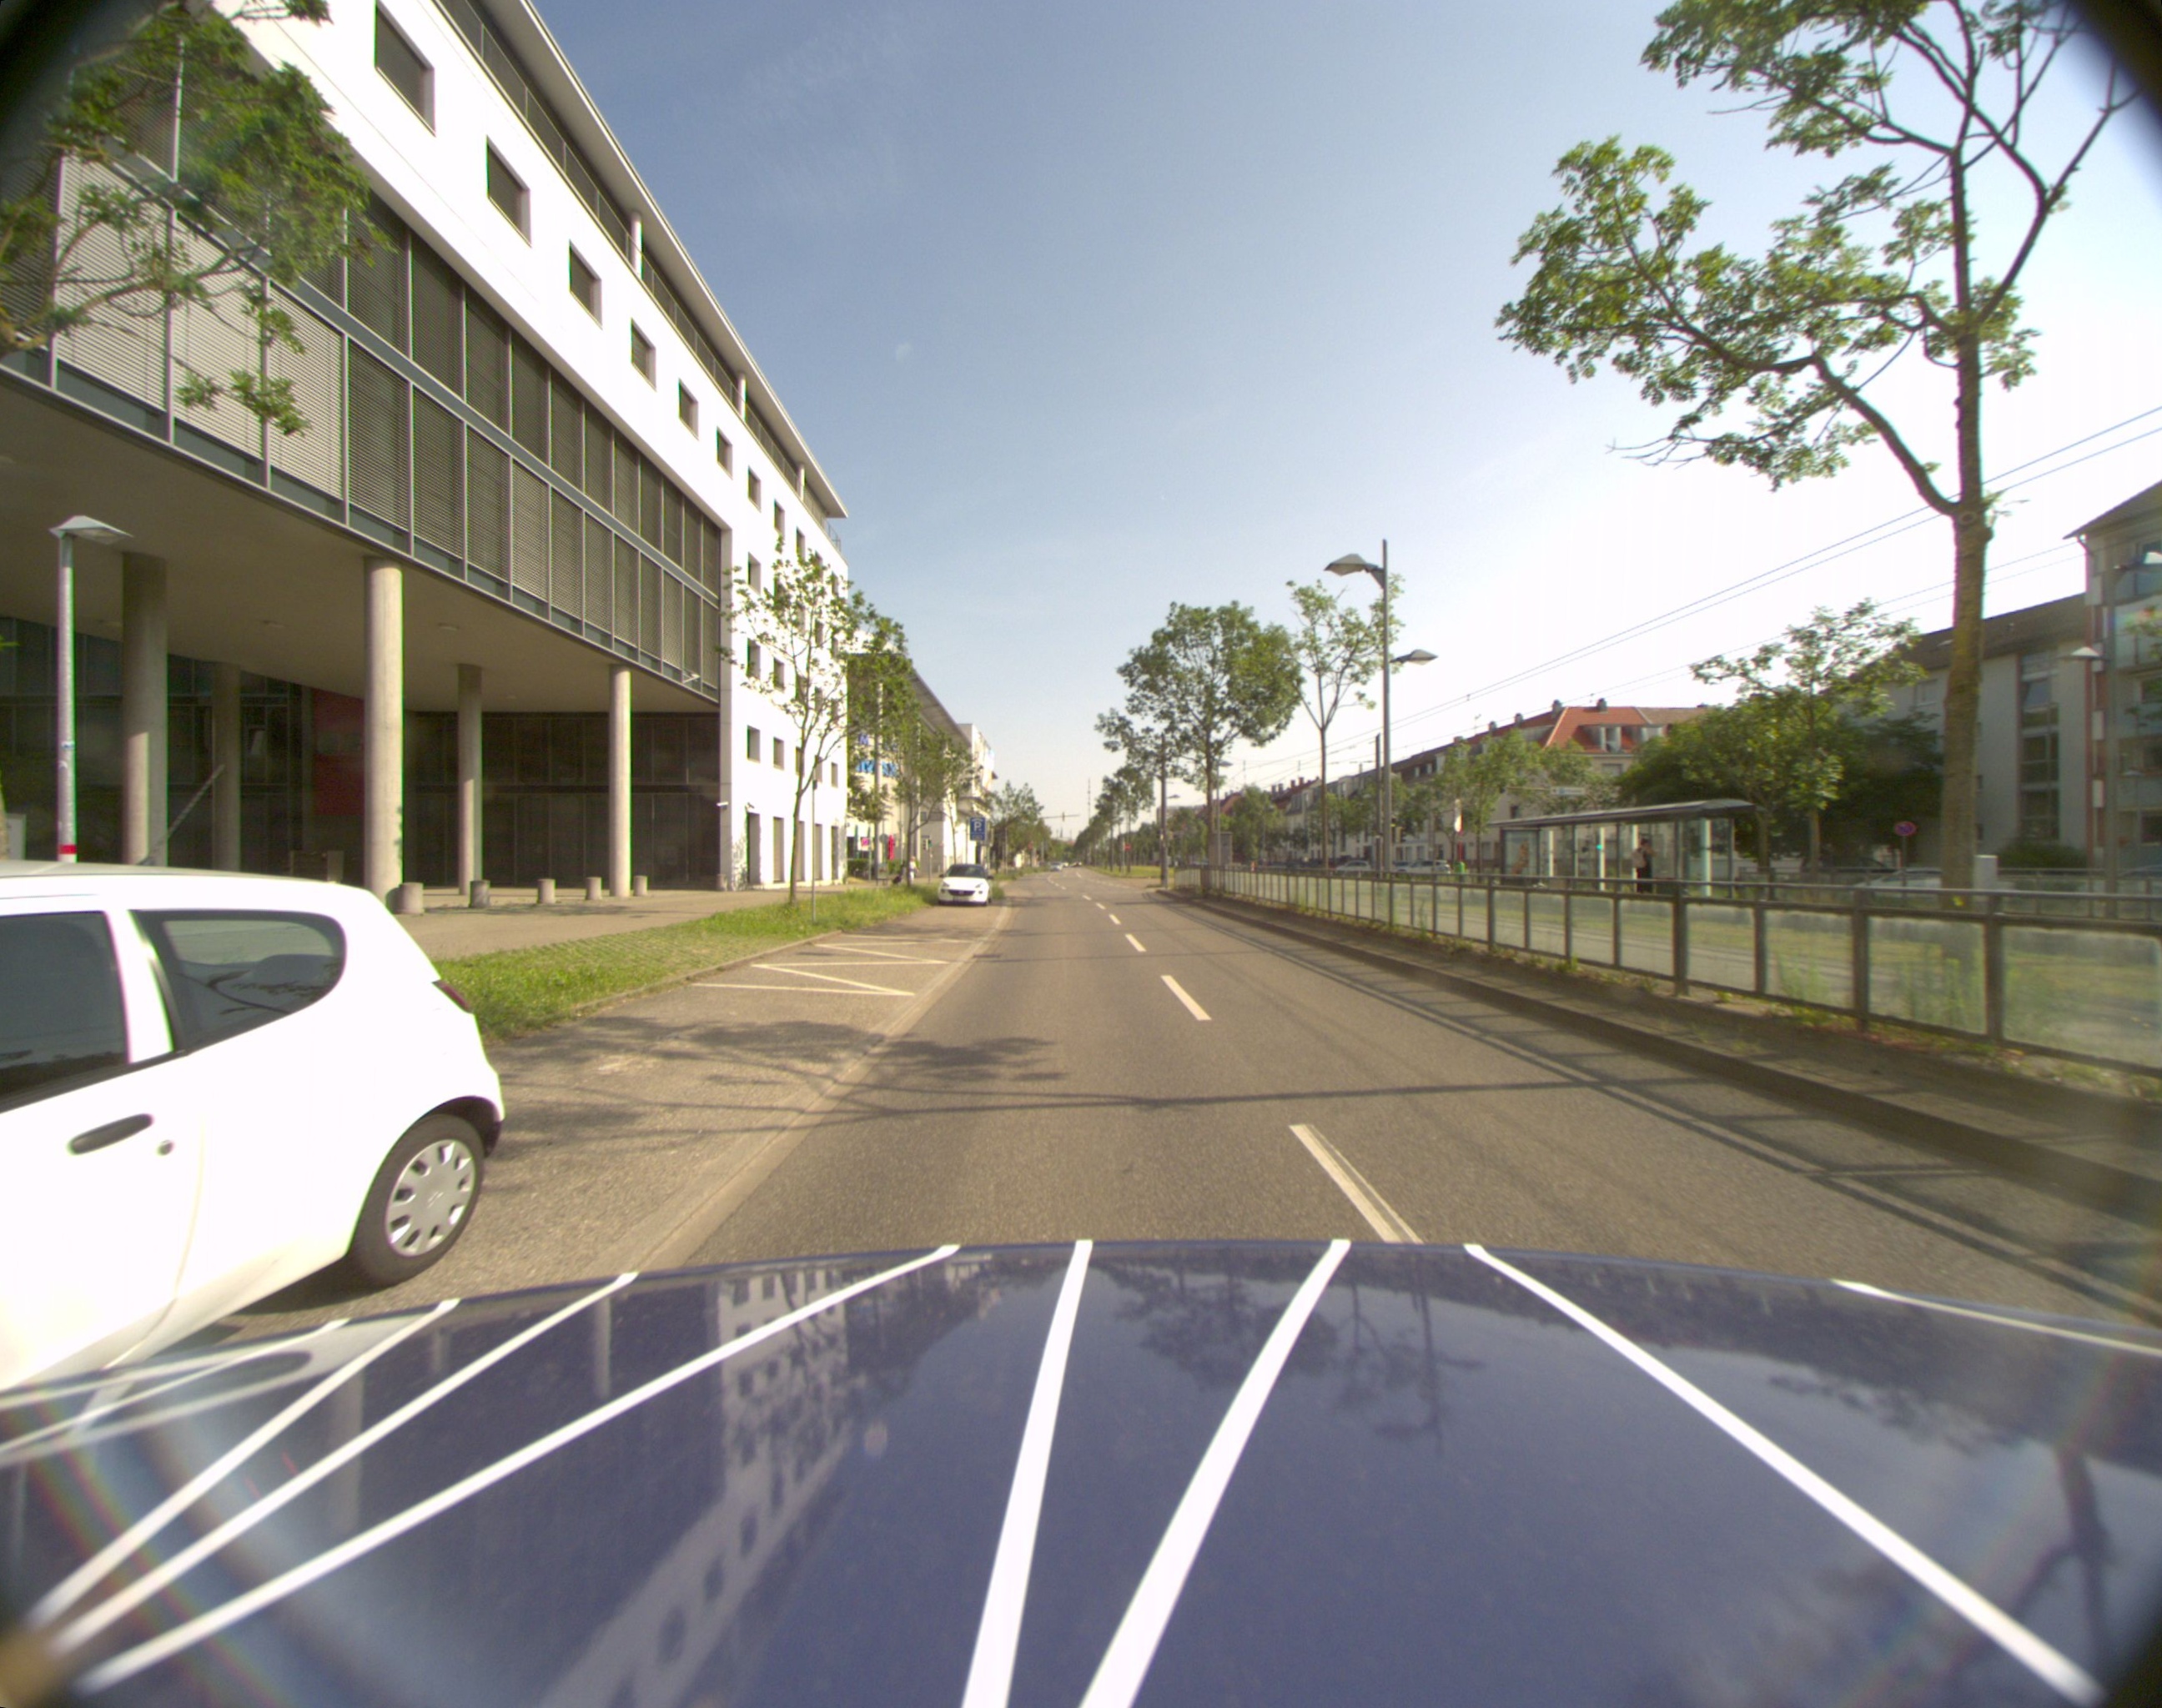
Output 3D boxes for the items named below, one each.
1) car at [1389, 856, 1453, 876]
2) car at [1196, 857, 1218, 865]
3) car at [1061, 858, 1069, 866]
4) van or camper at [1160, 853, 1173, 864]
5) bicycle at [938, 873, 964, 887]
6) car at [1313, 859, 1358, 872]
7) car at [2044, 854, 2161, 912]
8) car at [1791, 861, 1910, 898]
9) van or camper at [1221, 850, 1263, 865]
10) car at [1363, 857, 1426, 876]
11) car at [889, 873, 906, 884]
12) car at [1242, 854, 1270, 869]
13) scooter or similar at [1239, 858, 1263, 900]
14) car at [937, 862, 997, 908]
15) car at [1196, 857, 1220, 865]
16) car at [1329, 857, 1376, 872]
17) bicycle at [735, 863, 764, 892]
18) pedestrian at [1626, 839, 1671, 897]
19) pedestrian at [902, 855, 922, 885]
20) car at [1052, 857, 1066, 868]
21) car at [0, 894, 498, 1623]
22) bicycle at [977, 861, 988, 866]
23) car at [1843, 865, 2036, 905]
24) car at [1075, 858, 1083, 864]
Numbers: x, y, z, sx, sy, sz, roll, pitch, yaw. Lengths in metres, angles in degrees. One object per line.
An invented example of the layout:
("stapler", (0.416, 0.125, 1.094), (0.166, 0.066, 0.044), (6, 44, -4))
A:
("car", (26.902, 0.951, 60.127), (4.341, 1.455, 1.967), (-2, 0, 32))
("car", (26.002, 1.475, 156.429), (4.088, 1.520, 1.816), (-2, 0, 37))
("car", (-3.633, 1.806, 173.147), (1.999, 1.652, 4.000), (0, 0, -1))
("van or camper", (19.624, 1.080, 174.465), (2.147, 2.459, 6.058), (1, 0, -1))
("bicycle", (-7.089, 1.403, 41.465), (1.273, 0.629, 0.521), (6, 1, 6))
("car", (25.768, 1.150, 77.057), (3.989, 1.251, 1.880), (0, 0, 32))
("car", (29.541, 0.767, 20.637), (1.838, 1.462, 3.826), (-2, 0, -2))
("car", (39.319, 1.261, 38.897), (3.997, 1.685, 2.000), (-2, 0, 0))
("van or camper", (26.431, 0.586, 124.824), (6.144, 2.532, 2.419), (-1, 0, 37))
("car", (26.349, 1.046, 63.903), (4.452, 1.505, 2.004), (-2, 0, 35))
("car", (-10.084, 1.356, 41.724), (0.766, 0.584, 0.499), (0, 0, 26))
("car", (20.868, 0.912, 90.812), (1.999, 1.696, 4.712), (2, 0, -2))
("scooter or similar", (5.226, 0.755, 23.305), (0.426, 1.231, 1.264), (1, 0, 27))
("car", (-4.026, 1.063, 27.365), (1.725, 1.510, 3.781), (0, -1, -2))
("car", (25.721, 1.387, 153.833), (4.354, 1.466, 1.861), (-2, 0, 37))
("car", (26.340, 1.027, 73.612), (3.990, 1.262, 1.890), (-2, 0, 29))
("bicycle", (-12.835, 0.895, 29.458), (0.495, 1.079, 1.549), (1, 0, -4))
("pedestrian", (16.382, 0.392, 21.958), (0.673, 1.643, 0.794), (0, 0, -5))
("pedestrian", (-9.263, 0.853, 41.639), (0.777, 1.606, 0.715), (1, 0, 26))
("car", (-3.327, 1.268, 115.773), (1.999, 1.652, 4.000), (0, 0, -1))
("car", (-3.165, 0.901, 1.173), (1.693, 1.517, 3.850), (0, -1, -3))
("bicycle", (-15.716, 1.518, 121.619), (1.661, 0.910, 0.482), (0, 0, 0))
("car", (29.273, 1.019, 26.134), (1.838, 1.141, 4.164), (-2, 0, -2))
("car", (-0.522, 1.728, 186.810), (1.999, 1.652, 4.000), (0, 0, -1))
